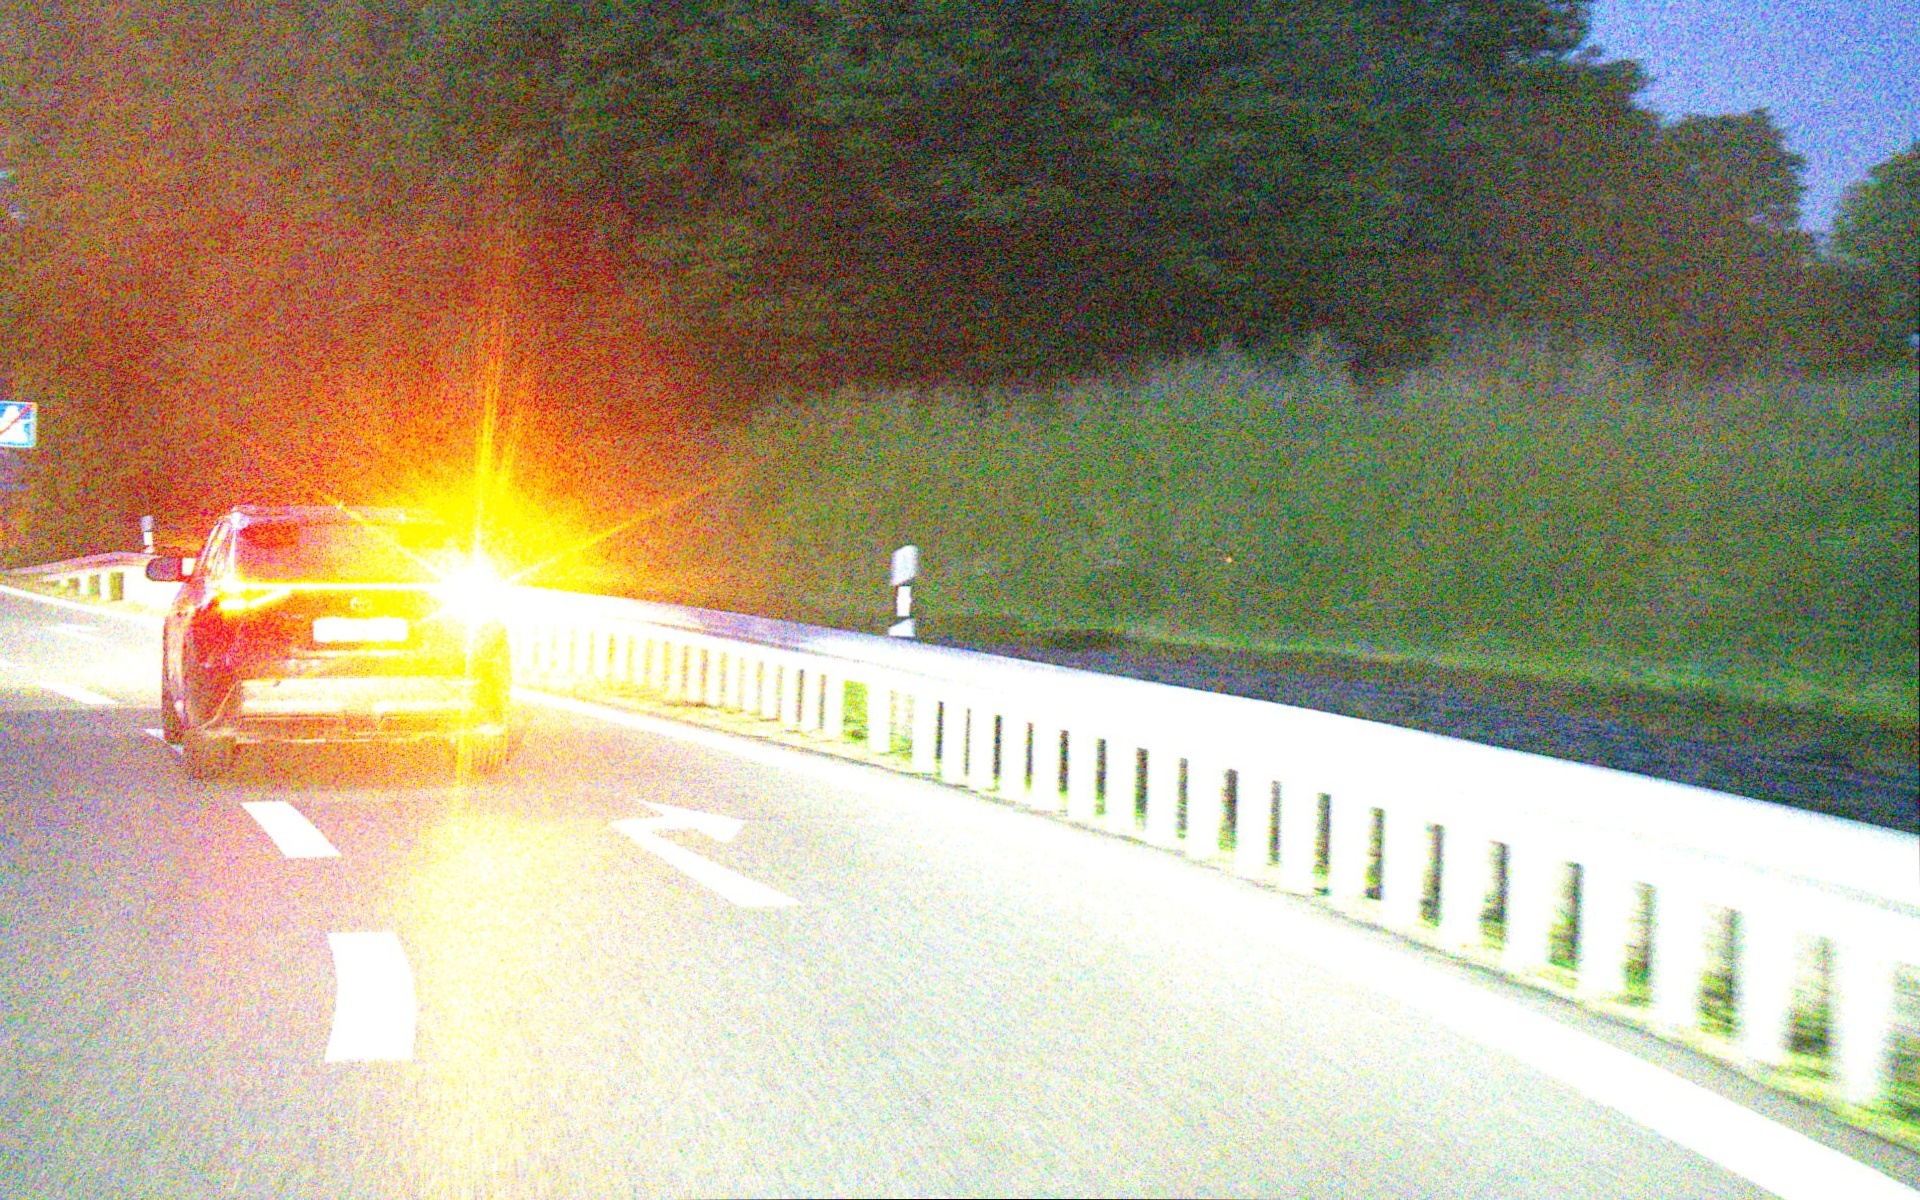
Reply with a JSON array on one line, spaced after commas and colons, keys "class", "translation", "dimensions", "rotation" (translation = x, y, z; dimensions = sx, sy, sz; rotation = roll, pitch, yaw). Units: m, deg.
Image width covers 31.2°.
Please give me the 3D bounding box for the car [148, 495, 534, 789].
[{"class": "car", "translation": [-3.959, 0.165, 21.386], "dimensions": [1.900, 1.614, 4.558], "rotation": [-1, 2, -16]}]
